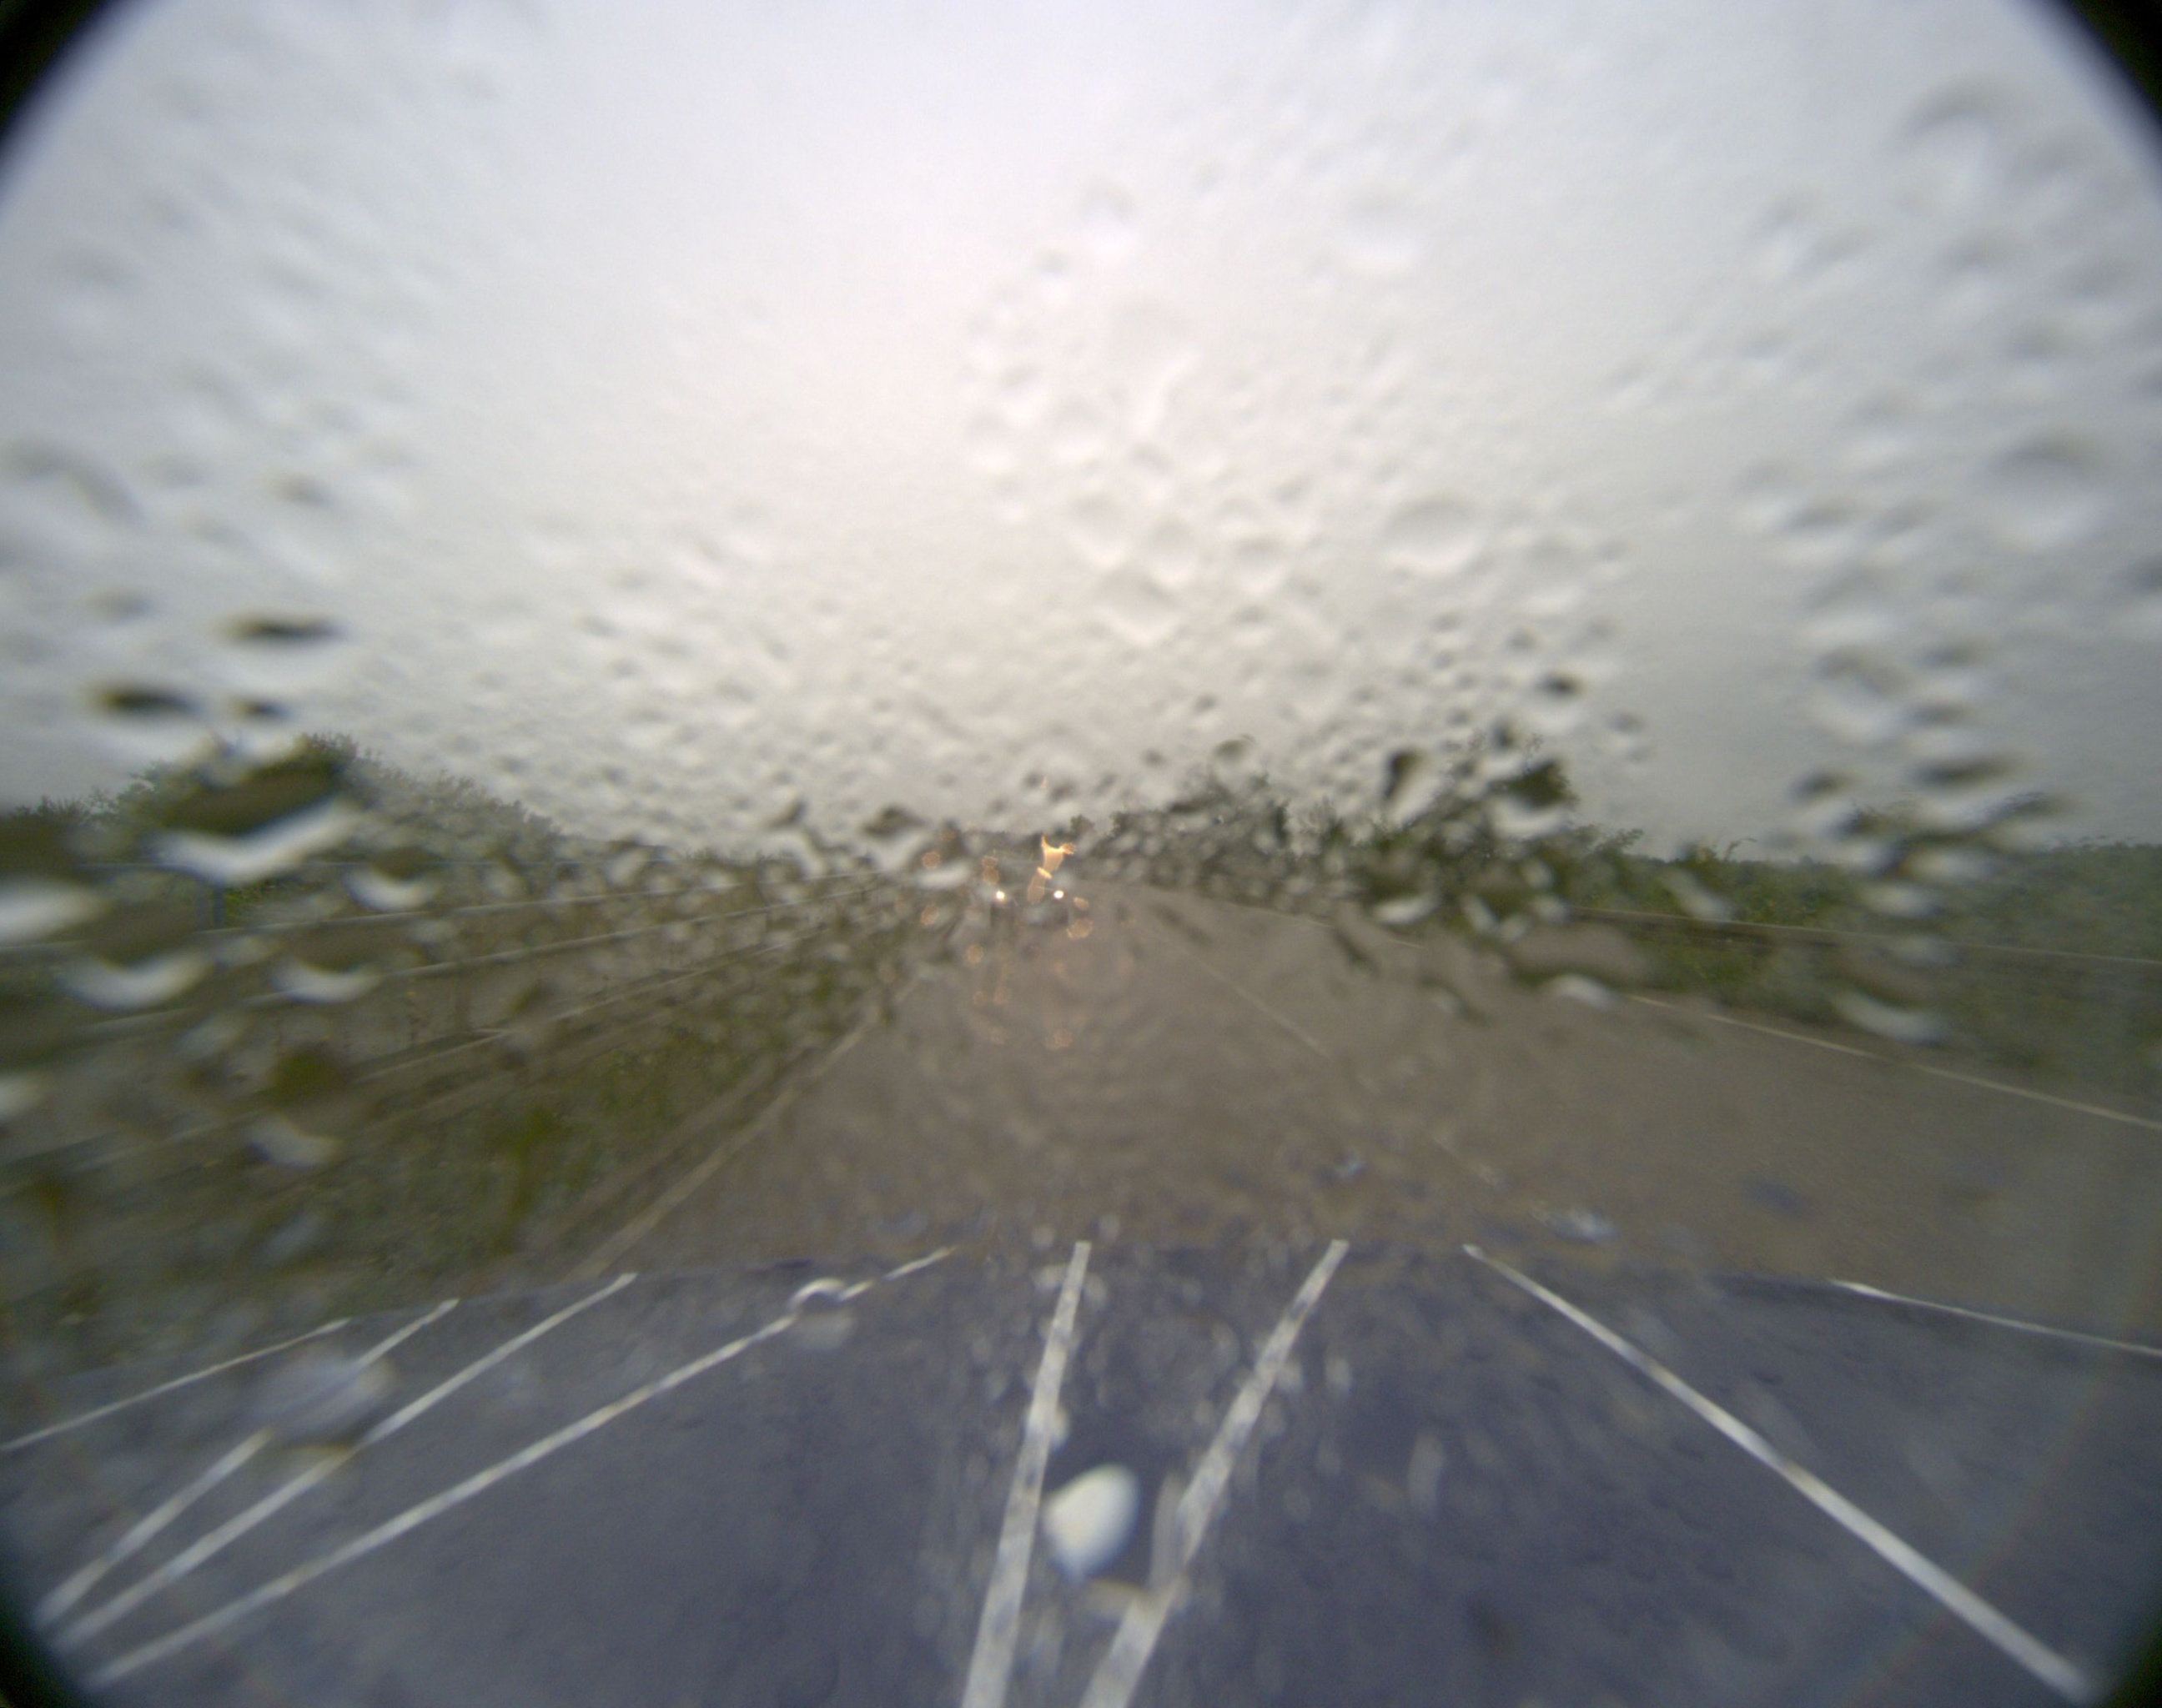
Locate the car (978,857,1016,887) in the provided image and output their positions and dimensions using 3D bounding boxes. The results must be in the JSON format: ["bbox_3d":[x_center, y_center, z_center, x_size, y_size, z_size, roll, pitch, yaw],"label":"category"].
[{"bbox_3d":[-4.264,0.863,38.339,1.820,1.382,4.066,-1,0,-7],"label":"car"}]

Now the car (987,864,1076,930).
[{"bbox_3d":[-1.307,0.943,18.452,1.820,1.382,4.066,0,0,-9],"label":"car"}]
